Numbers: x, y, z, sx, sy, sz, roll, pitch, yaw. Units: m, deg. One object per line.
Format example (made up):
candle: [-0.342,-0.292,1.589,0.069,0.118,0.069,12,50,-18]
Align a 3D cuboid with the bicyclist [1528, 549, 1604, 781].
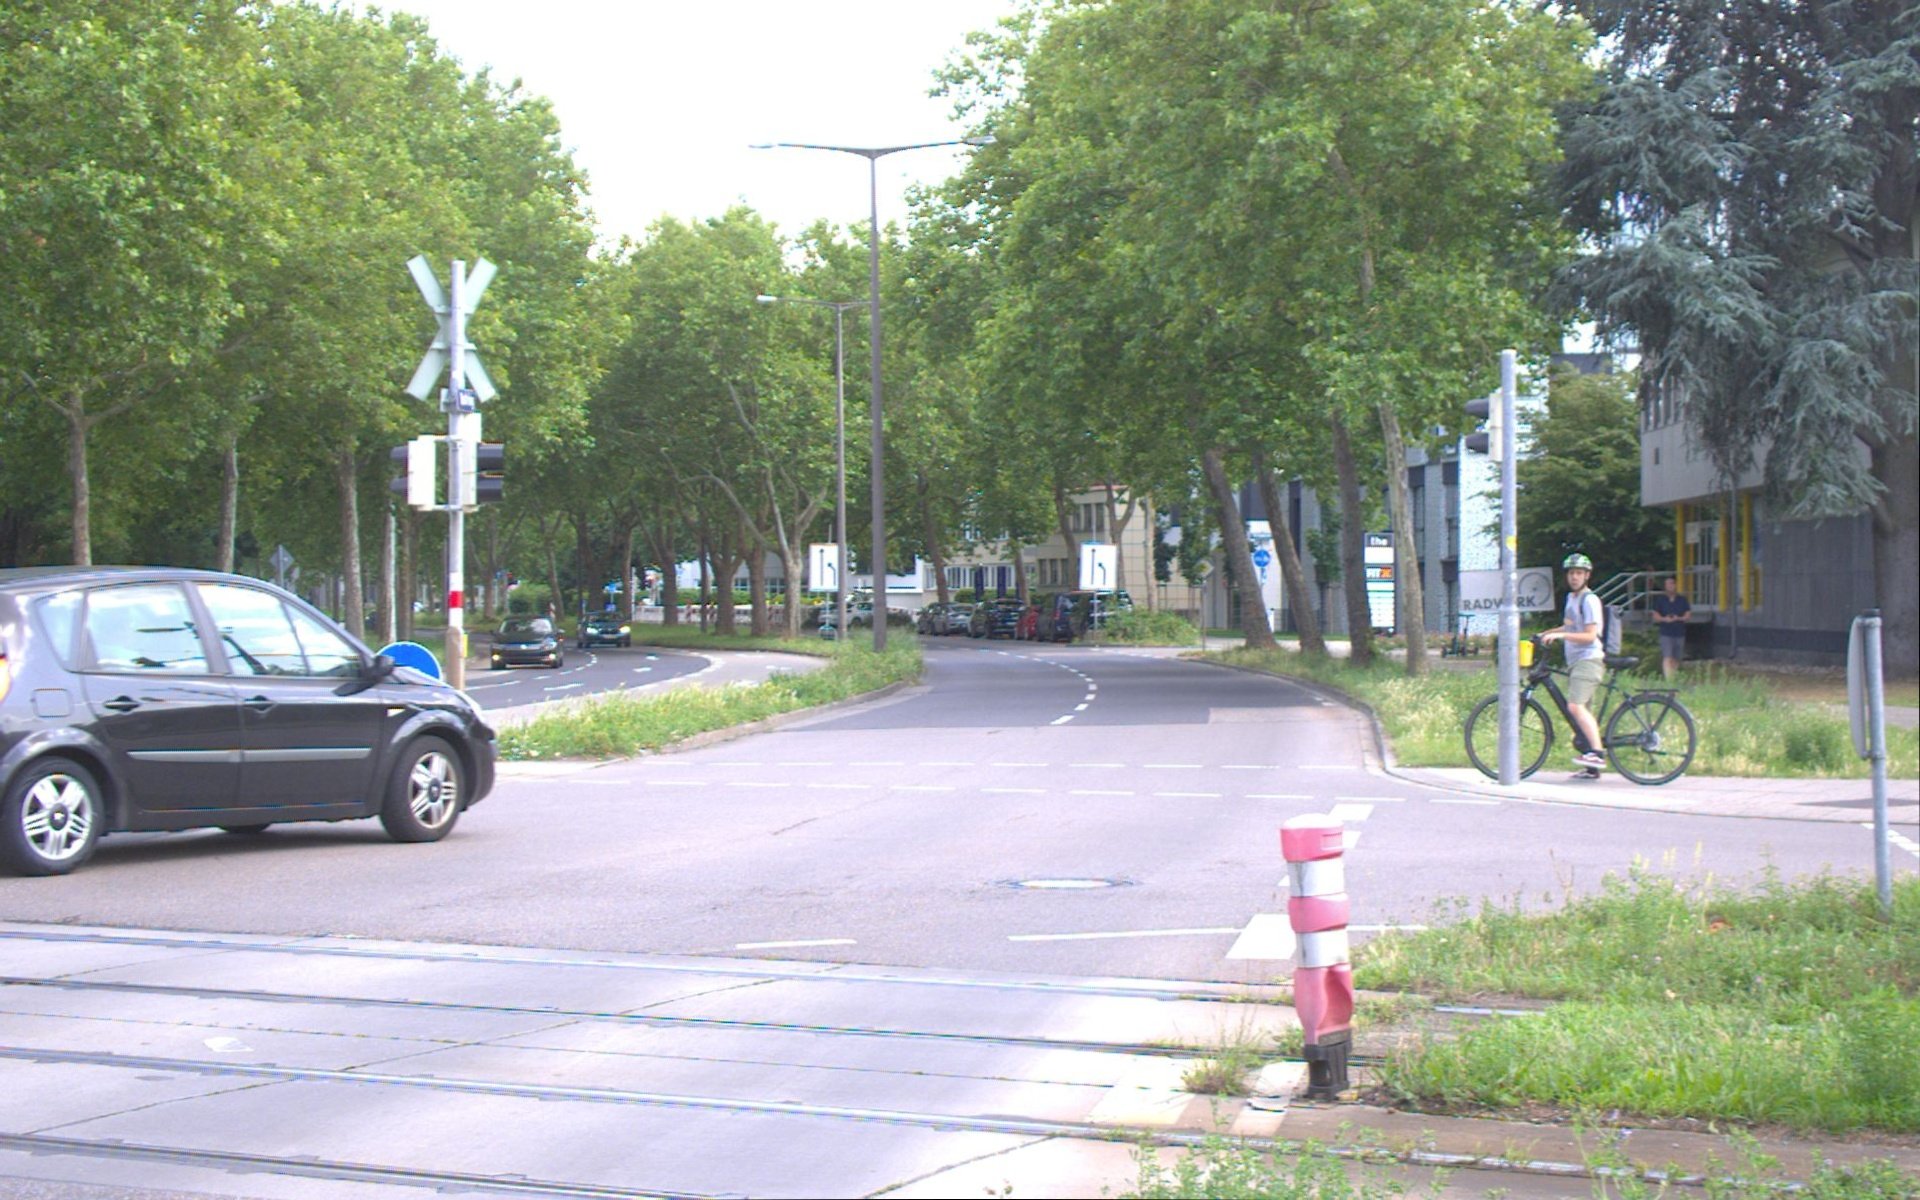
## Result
bicyclist: [4.794,0.505,27.180,0.543,1.803,0.540,0,2,16]

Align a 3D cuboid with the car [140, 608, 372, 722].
car: [-8.911,0.791,43.858,1.825,1.360,4.137,0,0,4]

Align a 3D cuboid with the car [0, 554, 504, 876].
car: [-4.586,0.577,19.187,1.734,1.625,4.044,0,0,36]

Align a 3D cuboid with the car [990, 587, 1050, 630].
car: [2.380,0.327,137.418,1.993,1.568,4.001,0,2,-5]

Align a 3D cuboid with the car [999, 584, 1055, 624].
car: [2.878,0.169,148.217,1.993,1.568,4.001,0,2,-5]

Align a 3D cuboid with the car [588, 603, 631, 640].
car: [-13.865,0.833,135.921,1.656,1.267,3.772,0,2,-6]

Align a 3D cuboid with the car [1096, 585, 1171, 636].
car: [5.901,0.347,117.276,1.993,1.568,4.001,0,2,-5]

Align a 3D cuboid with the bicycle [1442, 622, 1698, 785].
bicycle: [4.821,0.807,27.178,1.947,1.231,0.540,0,2,16]

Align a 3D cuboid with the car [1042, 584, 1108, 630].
car: [4.296,0.237,129.156,1.993,1.568,4.001,0,2,-5]

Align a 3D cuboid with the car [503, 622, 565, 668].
car: [-11.629,1.213,93.710,1.634,1.187,3.709,0,0,-7]

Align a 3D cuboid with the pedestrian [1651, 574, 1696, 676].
pedestrian: [11.030,0.383,53.175,0.620,1.564,0.559,0,2,6]

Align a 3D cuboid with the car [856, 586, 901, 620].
car: [-4.210,0.127,177.041,1.993,1.568,4.001,0,2,-5]
